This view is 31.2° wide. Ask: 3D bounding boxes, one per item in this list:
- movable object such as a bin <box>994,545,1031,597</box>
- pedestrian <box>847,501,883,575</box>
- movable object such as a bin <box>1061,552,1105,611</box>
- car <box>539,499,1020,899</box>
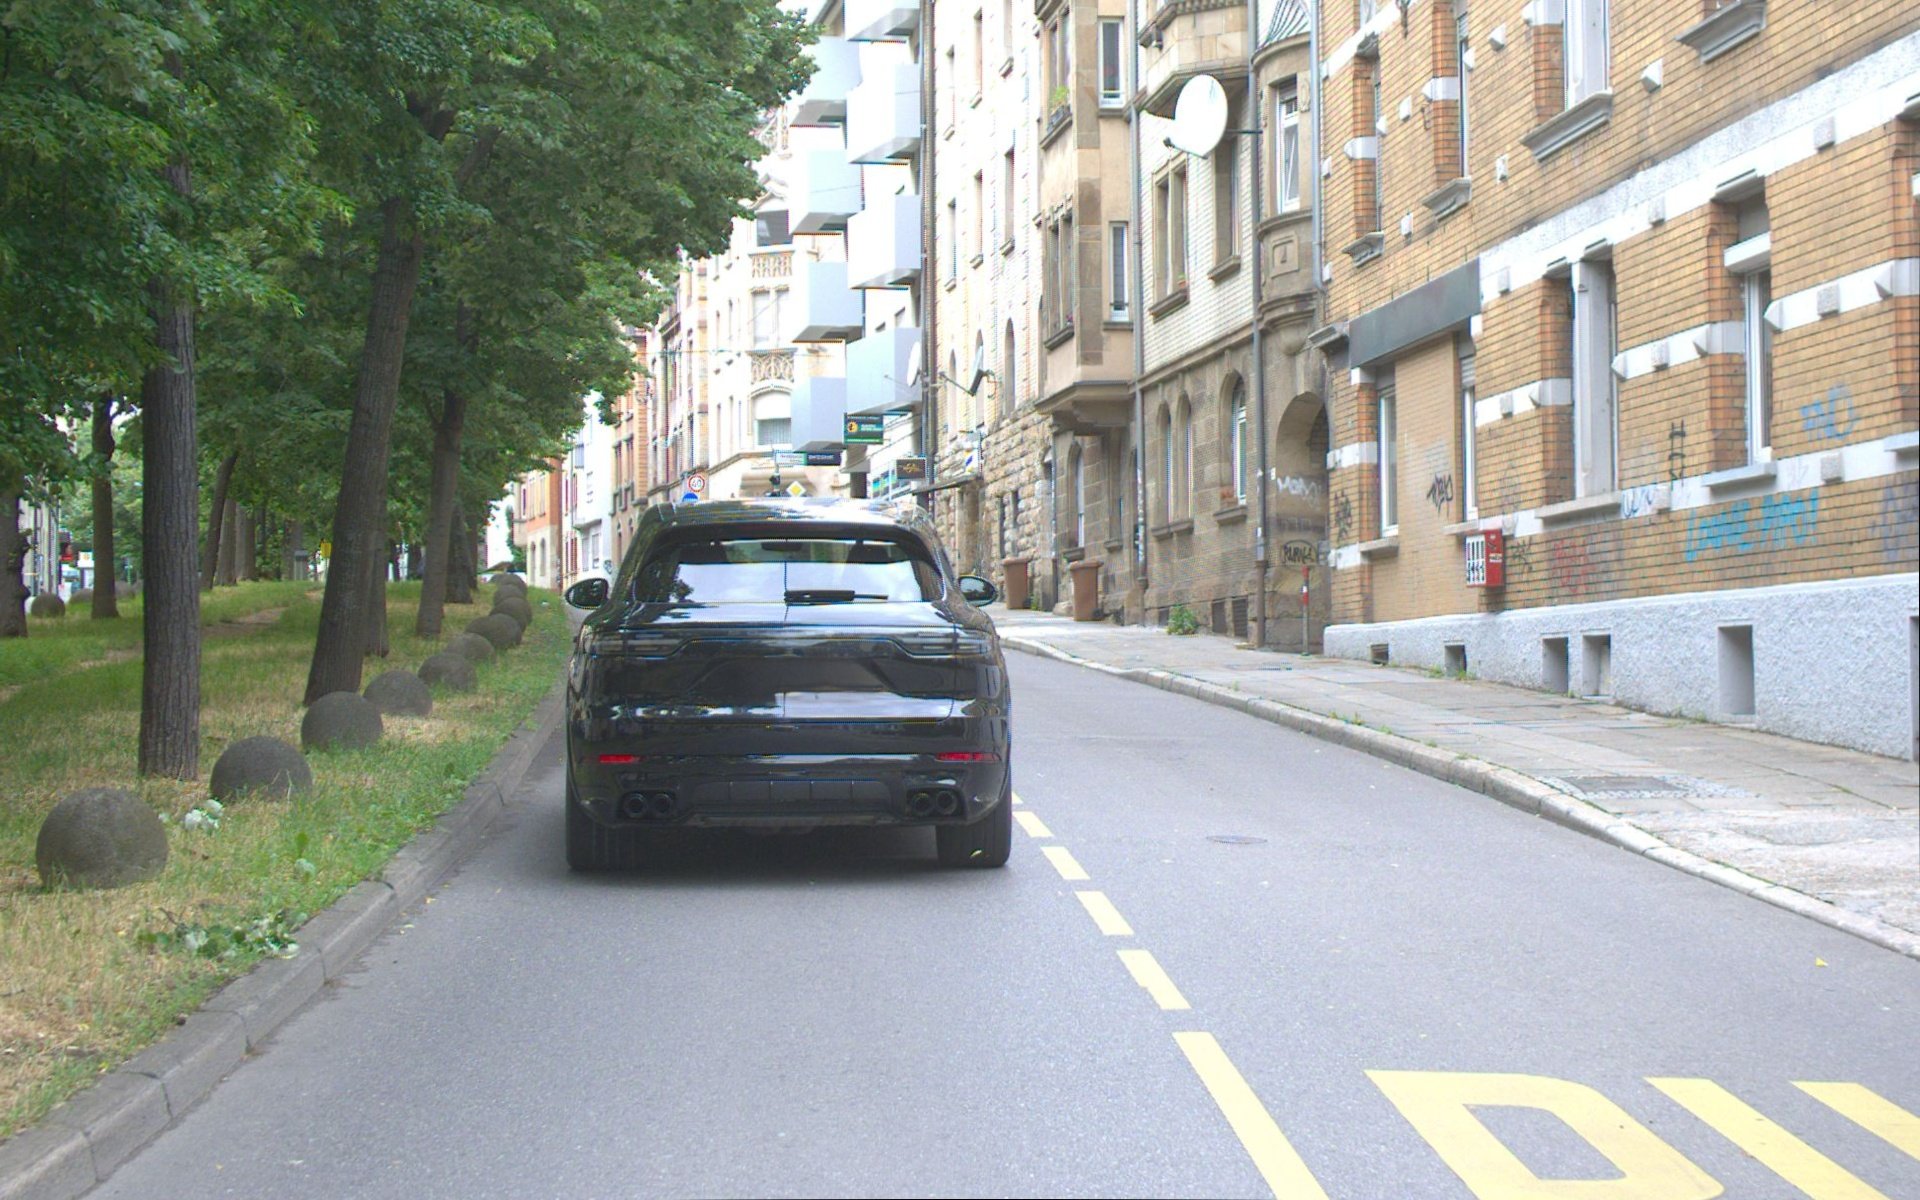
[{"bbox_3d":[0.939,-0.518,61.688,0.594,0.901,0.503,1,-3,-6],"label":"movable object such as a bin"},{"bbox_3d":[-2.228,-1.446,80.427,0.751,1.687,0.858,-1,0,-7],"label":"pedestrian"},{"bbox_3d":[1.900,-0.282,53.110,0.594,0.901,0.563,1,1,-6],"label":"movable object such as a bin"},{"bbox_3d":[-0.868,0.360,16.387,1.993,1.660,4.001,1,2,-3],"label":"car"}]
